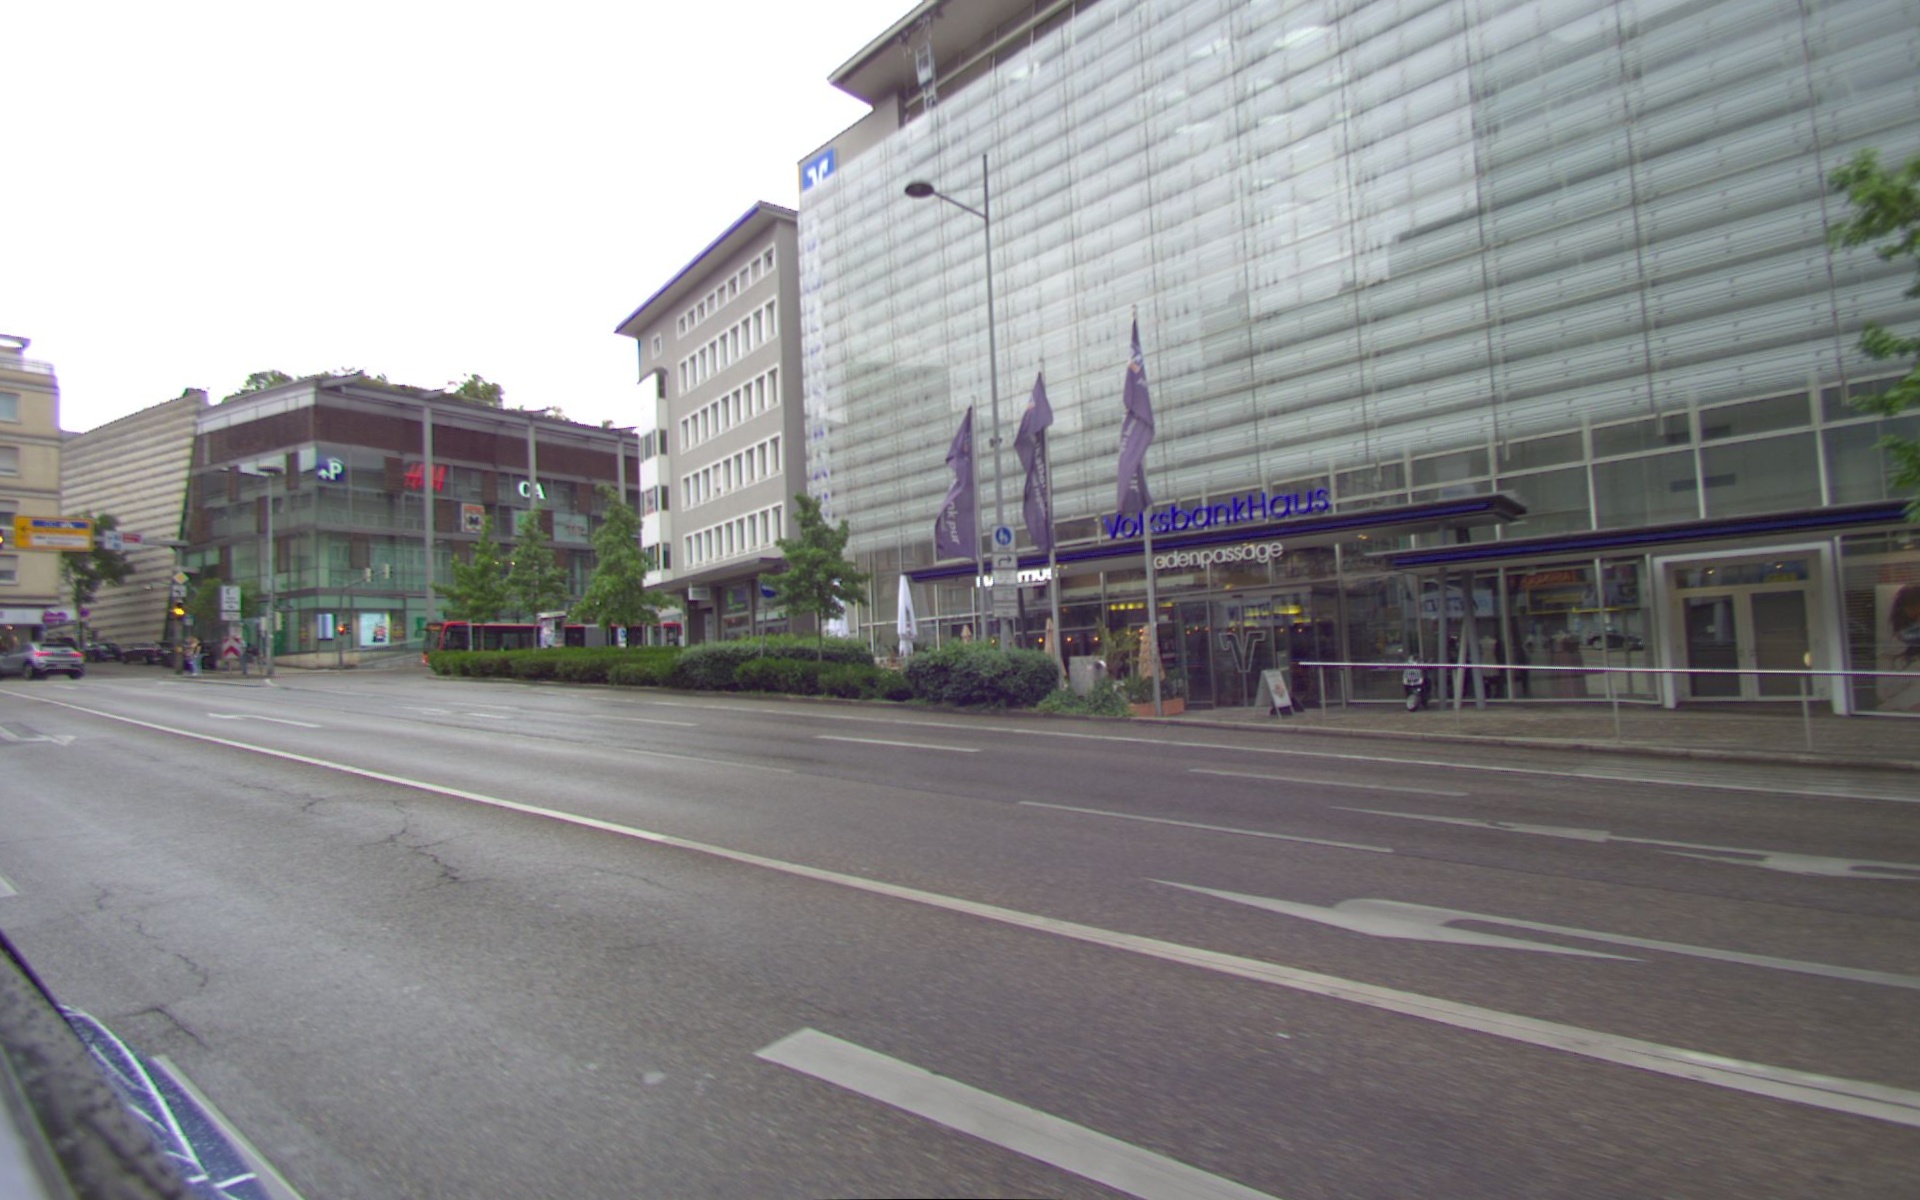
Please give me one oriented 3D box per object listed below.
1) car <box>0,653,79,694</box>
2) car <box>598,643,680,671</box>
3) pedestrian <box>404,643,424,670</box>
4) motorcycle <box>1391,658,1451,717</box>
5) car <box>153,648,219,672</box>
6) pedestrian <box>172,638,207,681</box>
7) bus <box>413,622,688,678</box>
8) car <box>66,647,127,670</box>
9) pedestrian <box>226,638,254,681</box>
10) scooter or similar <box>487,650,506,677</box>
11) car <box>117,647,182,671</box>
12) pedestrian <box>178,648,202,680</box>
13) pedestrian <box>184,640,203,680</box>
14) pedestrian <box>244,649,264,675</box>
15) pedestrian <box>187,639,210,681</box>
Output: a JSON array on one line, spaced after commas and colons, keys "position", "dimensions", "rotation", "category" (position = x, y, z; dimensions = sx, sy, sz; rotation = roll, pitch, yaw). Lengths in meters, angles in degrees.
[{"position": [-37.720, 2.965, 40.999], "dimensions": [4.079, 1.564, 1.827], "rotation": [-2, -5, 31], "category": "car"}, {"position": [-24.935, 4.434, 78.819], "dimensions": [2.446, 2.091, 5.839], "rotation": [-3, -4, 34], "category": "car"}, {"position": [-39.756, 4.113, 73.741], "dimensions": [0.881, 1.996, 0.963], "rotation": [-4, -5, 35], "category": "pedestrian"}, {"position": [10.797, 2.017, 23.679], "dimensions": [1.529, 1.305, 0.769], "rotation": [2, -3, -45], "category": "motorcycle"}, {"position": [-52.137, 4.042, 68.144], "dimensions": [4.274, 1.558, 1.789], "rotation": [-1, -3, 26], "category": "car"}, {"position": [-33.417, 2.577, 43.914], "dimensions": [1.009, 1.801, 0.845], "rotation": [-2, -4, 30], "category": "pedestrian"}, {"position": [-26.691, 3.433, 68.108], "dimensions": [2.925, 3.346, 18.244], "rotation": [-4, -5, 37], "category": "bus"}, {"position": [-63.354, 4.249, 74.228], "dimensions": [4.358, 1.558, 1.882], "rotation": [-1, -1, 26], "category": "car"}, {"position": [-30.058, 2.491, 42.249], "dimensions": [0.829, 1.792, 0.611], "rotation": [-2, -4, 30], "category": "pedestrian"}, {"position": [-20.928, 2.867, 45.694], "dimensions": [0.535, 1.196, 1.387], "rotation": [1, -5, -34], "category": "scooter or similar"}, {"position": [-56.889, 4.132, 71.024], "dimensions": [4.358, 1.558, 1.882], "rotation": [-1, -1, 26], "category": "car"}, {"position": [-32.536, 2.692, 42.775], "dimensions": [0.629, 1.350, 0.582], "rotation": [-2, -4, 30], "category": "pedestrian"}, {"position": [-32.118, 2.507, 42.404], "dimensions": [0.571, 1.681, 0.494], "rotation": [-5, -5, 43], "category": "pedestrian"}, {"position": [-48.094, 4.227, 68.947], "dimensions": [1.043, 1.775, 0.689], "rotation": [-3, -5, 24], "category": "pedestrian"}, {"position": [-31.597, 2.477, 41.989], "dimensions": [0.784, 1.702, 0.629], "rotation": [-4, -4, 45], "category": "pedestrian"}]
